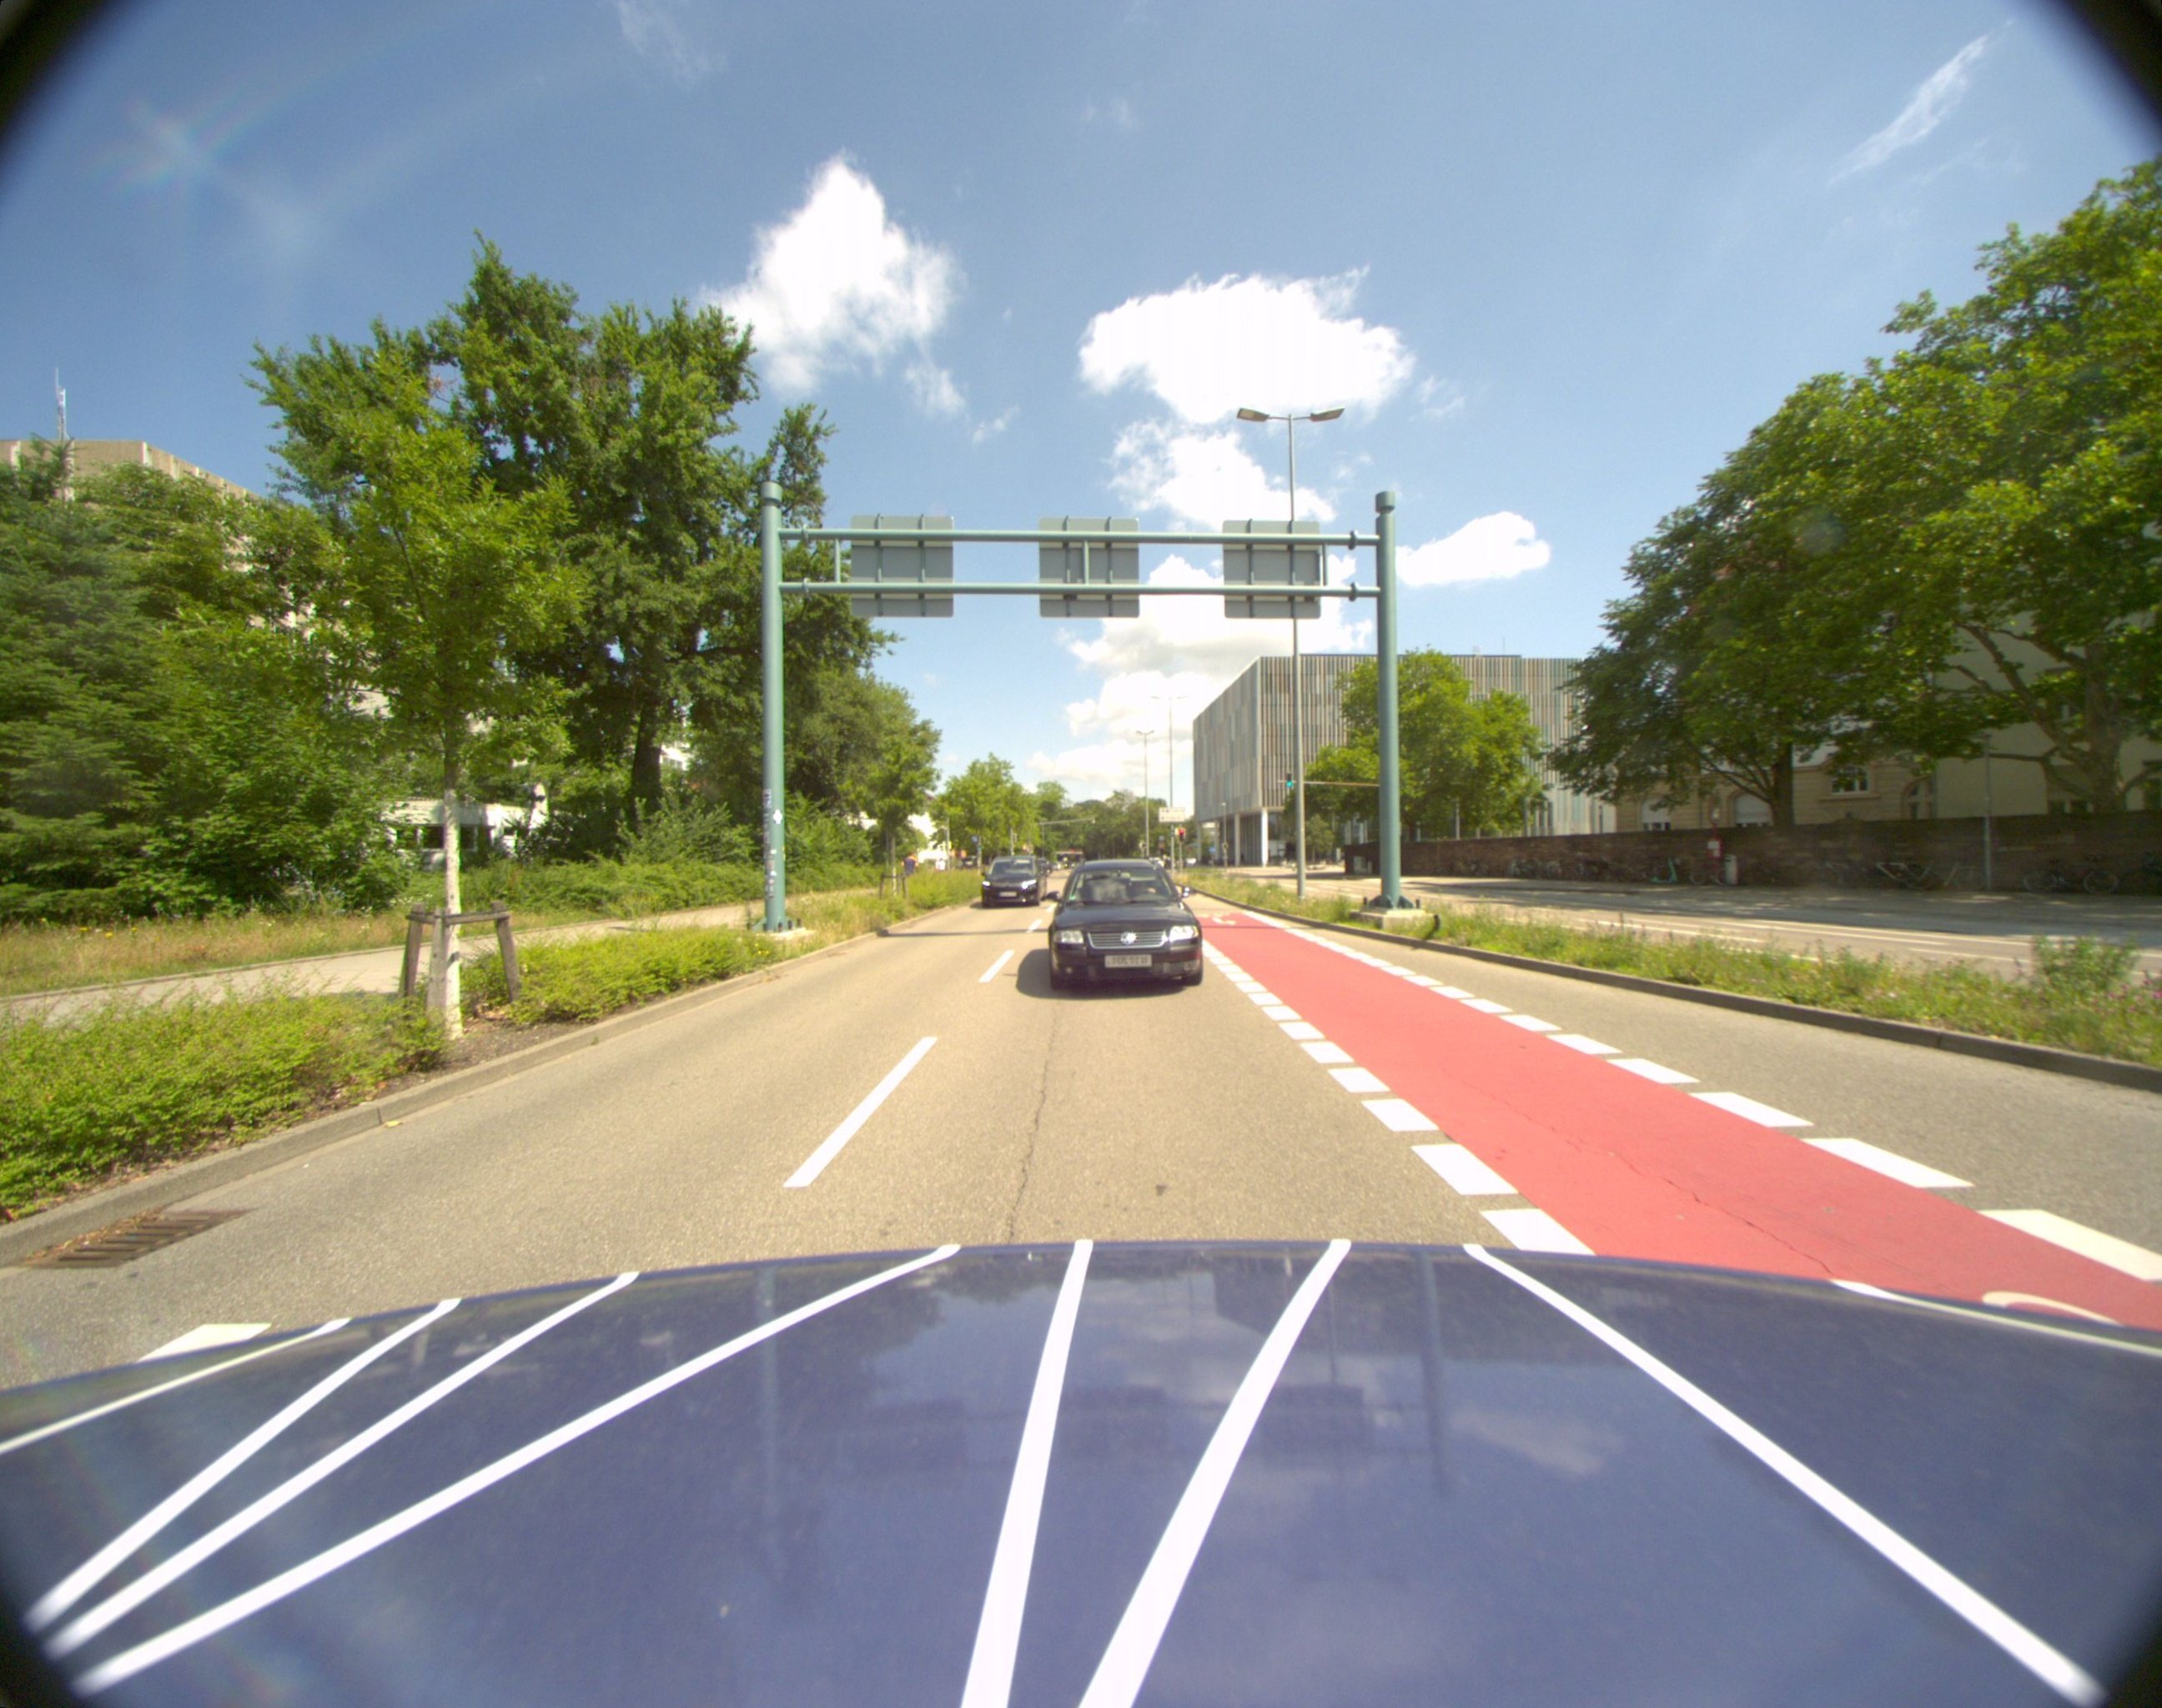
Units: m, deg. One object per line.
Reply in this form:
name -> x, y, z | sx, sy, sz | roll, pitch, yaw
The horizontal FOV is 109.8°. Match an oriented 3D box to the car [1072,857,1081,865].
car -> -0.848, 1.314, 149.288 | 1.806, 1.361, 4.157 | -1, 1, 1

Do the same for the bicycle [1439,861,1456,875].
bicycle -> 22.499, 0.854, 46.670 | 0.265, 0.826, 1.235 | -1, 0, -11

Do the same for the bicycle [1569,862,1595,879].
bicycle -> 23.881, 0.779, 36.222 | 0.265, 0.826, 1.235 | -1, 0, -11

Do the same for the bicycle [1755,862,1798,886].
bicycle -> 25.195, 0.707, 27.541 | 0.265, 0.826, 1.235 | -1, 0, -11

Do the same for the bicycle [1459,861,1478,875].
bicycle -> 22.816, 0.823, 44.775 | 0.265, 0.826, 1.235 | -1, 0, -11

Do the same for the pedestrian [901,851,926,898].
pedestrian -> -6.401, 0.760, 29.007 | 0.639, 1.754, 0.887 | -1, 0, 7

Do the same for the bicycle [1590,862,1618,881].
bicycle -> 23.968, 0.784, 34.844 | 0.265, 0.826, 1.235 | -1, 0, -11

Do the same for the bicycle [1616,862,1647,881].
bicycle -> 24.130, 0.771, 33.308 | 0.265, 0.826, 1.235 | -1, 0, -11

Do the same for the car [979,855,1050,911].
car -> -2.084, 0.873, 24.991 | 1.816, 1.598, 4.479 | -3, 0, 1

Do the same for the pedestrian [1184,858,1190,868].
pedestrian -> 15.479, 1.249, 110.596 | 0.697, 1.445, 0.688 | -1, 0, -6

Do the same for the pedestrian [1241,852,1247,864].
pedestrian -> 26.989, 0.629, 125.942 | 0.864, 2.002, 0.995 | -1, 0, 0

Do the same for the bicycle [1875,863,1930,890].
bicycle -> 25.982, 0.700, 24.059 | 0.265, 0.826, 1.235 | -1, 0, -11

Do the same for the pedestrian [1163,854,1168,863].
pedestrian -> 15.664, 0.829, 140.764 | 0.864, 1.647, 0.995 | -1, 0, -1

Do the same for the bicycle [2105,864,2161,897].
bicycle -> 27.134, 0.677, 19.367 | 0.265, 0.826, 1.234 | -1, 0, -13

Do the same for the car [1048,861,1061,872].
car -> -4.311, 1.950, 122.157 | 1.816, 1.598, 4.479 | -3, 0, 1

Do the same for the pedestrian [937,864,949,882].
pedestrian -> -12.592, 1.758, 69.195 | 0.763, 1.601, 0.769 | -1, 0, 36

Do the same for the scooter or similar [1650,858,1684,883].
scooter or similar -> 24.582, 0.675, 31.871 | 0.266, 1.014, 1.140 | -1, 0, -22

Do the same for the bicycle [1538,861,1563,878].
bicycle -> 23.193, 0.750, 37.547 | 0.265, 0.826, 1.234 | -1, 0, -11

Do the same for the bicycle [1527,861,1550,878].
bicycle -> 23.477, 0.788, 39.019 | 0.265, 0.826, 1.235 | -1, 0, -11

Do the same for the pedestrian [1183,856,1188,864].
pedestrian -> 17.633, 1.040, 128.516 | 0.696, 1.445, 0.689 | -1, 0, 2

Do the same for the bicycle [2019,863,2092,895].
bicycle -> 26.646, 0.669, 20.794 | 0.265, 0.826, 1.234 | -1, 0, -13

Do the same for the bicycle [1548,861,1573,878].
bicycle -> 23.671, 0.749, 37.490 | 0.265, 0.826, 1.235 | -1, 0, -11

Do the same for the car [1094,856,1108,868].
car -> 2.714, 1.096, 102.842 | 1.723, 1.545, 4.594 | -3, 0, 1

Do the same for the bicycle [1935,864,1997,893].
bicycle -> 26.249, 0.721, 22.550 | 0.265, 0.826, 1.235 | -1, 0, -11

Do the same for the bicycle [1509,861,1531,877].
bicycle -> 23.368, 0.790, 40.429 | 0.265, 0.826, 1.234 | -1, 0, -11

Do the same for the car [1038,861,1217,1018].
car -> 0.492, 0.880, 9.888 | 1.723, 1.472, 4.594 | -3, 0, 1

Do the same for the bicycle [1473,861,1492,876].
bicycle -> 22.968, 0.814, 43.457 | 0.265, 0.826, 1.234 | -1, 0, -11

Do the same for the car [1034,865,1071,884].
car -> -2.690, 1.947, 72.958 | 1.814, 1.598, 4.486 | -3, 0, 22

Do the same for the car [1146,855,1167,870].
car -> 8.920, 0.991, 89.939 | 1.999, 1.701, 4.512 | -1, 0, -1

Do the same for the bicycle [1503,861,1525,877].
bicycle -> 22.861, 0.811, 40.105 | 0.265, 0.826, 1.234 | -1, 0, -11

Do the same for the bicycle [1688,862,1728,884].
bicycle -> 24.826, 0.740, 30.101 | 0.265, 0.826, 1.233 | -1, 0, -21

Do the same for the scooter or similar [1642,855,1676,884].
scooter or similar -> 23.794, 0.623, 31.277 | 0.265, 1.182, 1.234 | -1, 0, -11

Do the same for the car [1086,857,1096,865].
car -> 1.761, 1.272, 135.769 | 1.806, 1.361, 4.157 | -1, 1, 1

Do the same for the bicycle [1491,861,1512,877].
bicycle -> 23.161, 0.818, 41.824 | 0.265, 0.826, 1.234 | -1, 0, -11

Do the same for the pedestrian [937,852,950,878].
pedestrian -> -10.539, 0.840, 58.167 | 0.847, 2.026, 0.900 | -1, 0, -20

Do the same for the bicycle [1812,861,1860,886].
bicycle -> 25.690, 0.643, 25.872 | 0.265, 0.826, 1.235 | -1, 0, -11

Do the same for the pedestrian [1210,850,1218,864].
pedestrian -> 18.895, 0.438, 108.002 | 0.864, 2.002, 0.995 | -1, 0, -1
